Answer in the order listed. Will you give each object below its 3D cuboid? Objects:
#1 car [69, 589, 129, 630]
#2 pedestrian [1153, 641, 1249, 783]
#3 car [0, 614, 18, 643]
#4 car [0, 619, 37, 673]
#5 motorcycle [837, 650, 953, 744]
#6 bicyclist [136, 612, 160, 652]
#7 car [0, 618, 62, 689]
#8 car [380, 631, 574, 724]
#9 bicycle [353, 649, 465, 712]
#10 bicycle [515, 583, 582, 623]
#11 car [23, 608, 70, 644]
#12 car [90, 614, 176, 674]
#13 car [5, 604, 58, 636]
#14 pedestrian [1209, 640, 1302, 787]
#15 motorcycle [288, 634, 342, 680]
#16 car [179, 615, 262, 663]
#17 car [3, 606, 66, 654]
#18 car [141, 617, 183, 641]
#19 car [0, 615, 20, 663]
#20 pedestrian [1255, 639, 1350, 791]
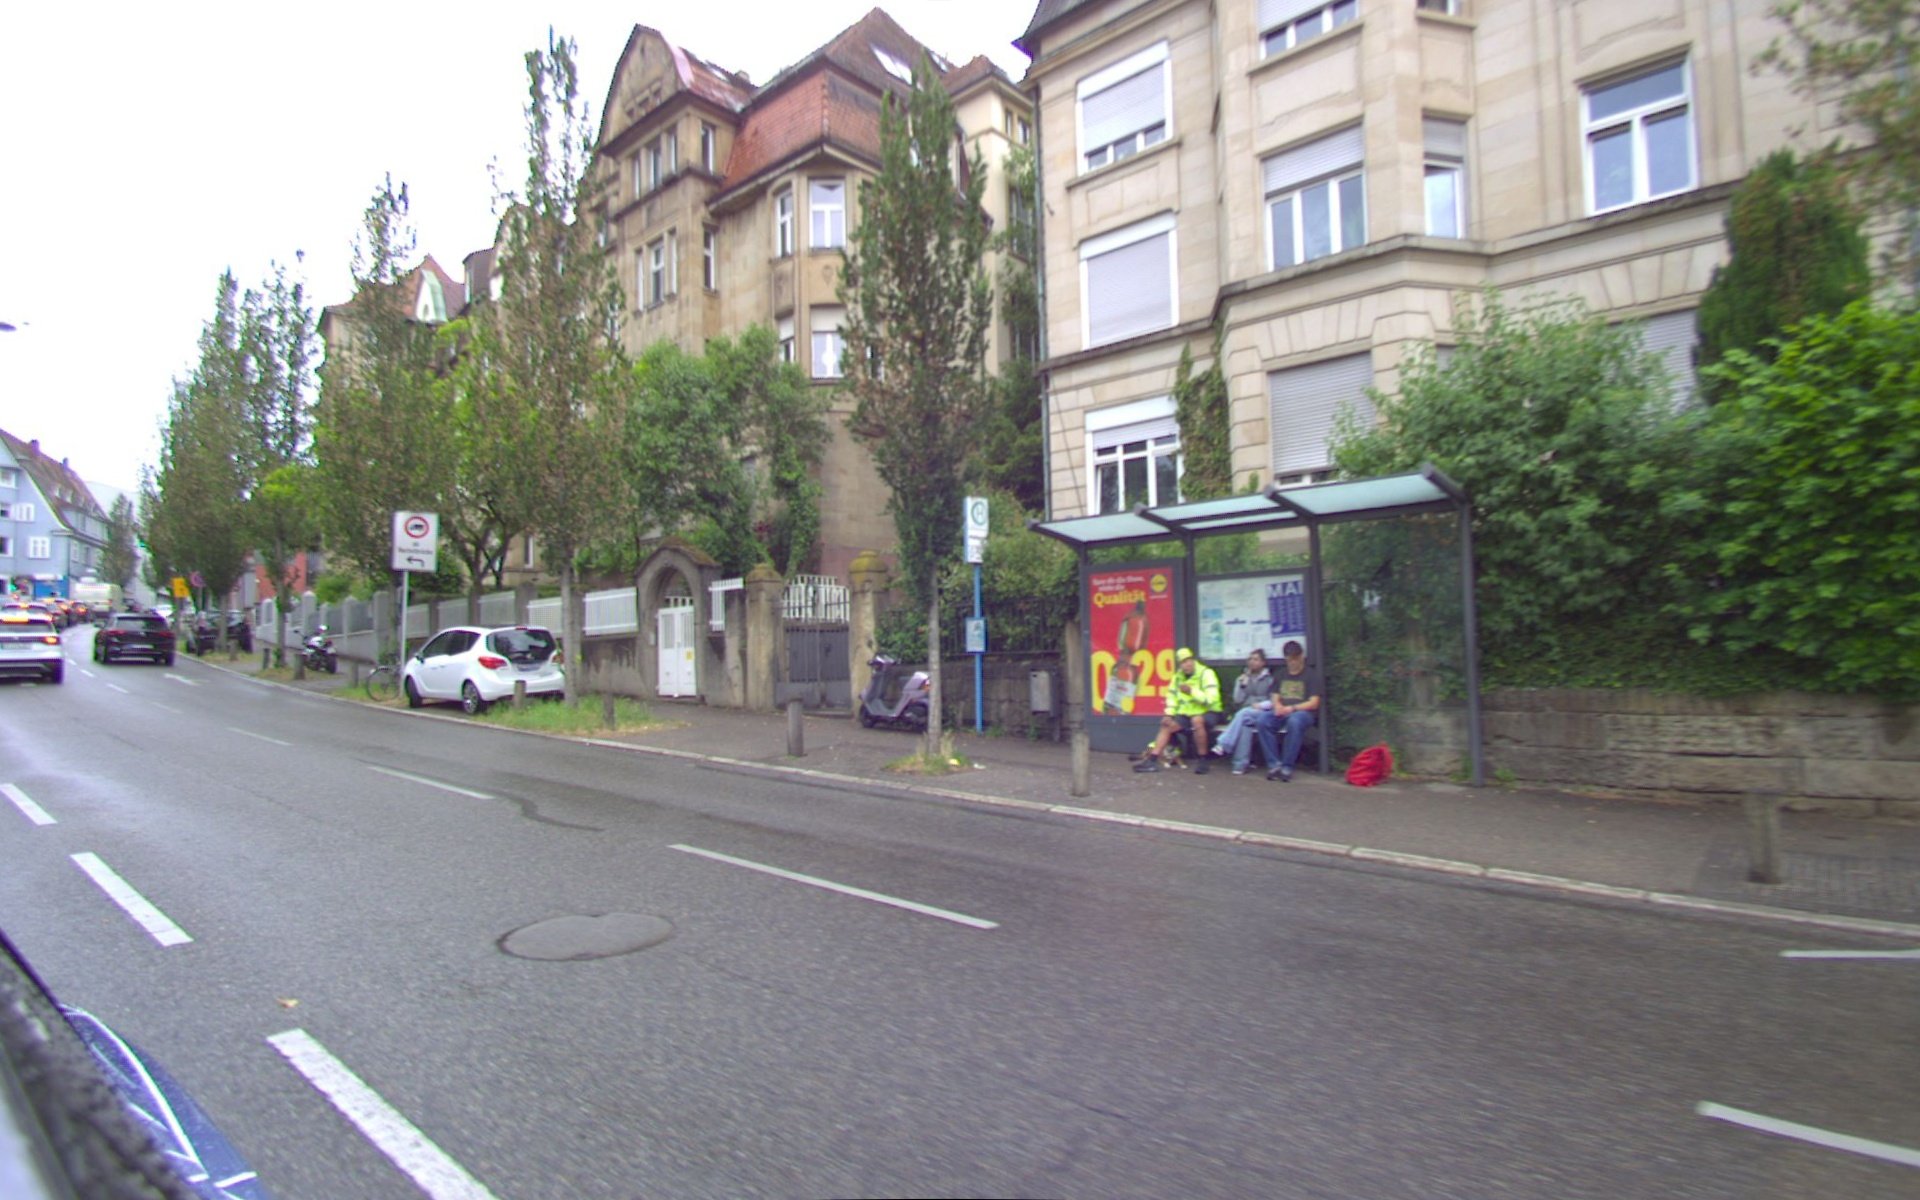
[{"bbox_3d":[-58.253,0.671,68.556,2.101,2.525,5.424,3,-4,-31],"label":"car"},{"bbox_3d":[2.597,1.167,10.905,0.759,1.443,0.758,-1,-3,39],"label":"pedestrian"},{"bbox_3d":[-57.256,1.678,59.664,1.895,1.663,4.145,-1,-1,-35],"label":"car"},{"bbox_3d":[-27.449,1.272,28.746,1.742,1.442,3.889,2,-2,-43],"label":"car"},{"bbox_3d":[-0.954,1.354,14.536,1.763,1.246,0.648,-2,-3,45],"label":"motorcycle"},{"bbox_3d":[-32.574,1.275,40.603,0.647,1.568,0.992,2,-3,-42],"label":"bicyclist"},{"bbox_3d":[-22.085,1.201,23.331,4.101,1.529,1.752,-2,-3,44],"label":"car"},{"bbox_3d":[-9.422,1.406,19.594,4.298,1.571,1.724,-1,0,40],"label":"car"},{"bbox_3d":[-11.616,1.676,21.406,0.657,1.245,1.955,-1,-3,41],"label":"bicycle"},{"bbox_3d":[-13.481,0.123,33.186,0.657,1.245,1.955,-1,-3,41],"label":"bicycle"},{"bbox_3d":[-46.933,1.341,52.004,1.632,1.721,4.118,5,-3,-42],"label":"car"},{"bbox_3d":[-25.789,1.340,31.515,1.723,1.529,3.873,6,-2,-43],"label":"car"},{"bbox_3d":[-51.597,1.139,56.299,1.597,1.674,4.123,4,-4,-36],"label":"car"},{"bbox_3d":[3.073,1.146,10.526,0.649,1.443,0.757,-2,-3,43],"label":"pedestrian"},{"bbox_3d":[-18.076,1.584,28.352,1.979,1.245,0.649,-1,-3,39],"label":"motorcycle"},{"bbox_3d":[-27.444,1.399,37.536,1.973,1.607,3.831,-3,1,-44],"label":"car"},{"bbox_3d":[-35.567,1.139,38.912,1.632,1.721,4.118,5,-3,-42],"label":"car"},{"bbox_3d":[-74.537,2.740,94.586,2.100,2.042,5.425,3,-4,-28],"label":"car"},{"bbox_3d":[-32.084,1.262,33.220,1.691,1.491,4.118,5,-5,-42],"label":"car"},{"bbox_3d":[3.457,1.121,10.214,0.649,1.443,0.757,-2,-3,43],"label":"pedestrian"}]
